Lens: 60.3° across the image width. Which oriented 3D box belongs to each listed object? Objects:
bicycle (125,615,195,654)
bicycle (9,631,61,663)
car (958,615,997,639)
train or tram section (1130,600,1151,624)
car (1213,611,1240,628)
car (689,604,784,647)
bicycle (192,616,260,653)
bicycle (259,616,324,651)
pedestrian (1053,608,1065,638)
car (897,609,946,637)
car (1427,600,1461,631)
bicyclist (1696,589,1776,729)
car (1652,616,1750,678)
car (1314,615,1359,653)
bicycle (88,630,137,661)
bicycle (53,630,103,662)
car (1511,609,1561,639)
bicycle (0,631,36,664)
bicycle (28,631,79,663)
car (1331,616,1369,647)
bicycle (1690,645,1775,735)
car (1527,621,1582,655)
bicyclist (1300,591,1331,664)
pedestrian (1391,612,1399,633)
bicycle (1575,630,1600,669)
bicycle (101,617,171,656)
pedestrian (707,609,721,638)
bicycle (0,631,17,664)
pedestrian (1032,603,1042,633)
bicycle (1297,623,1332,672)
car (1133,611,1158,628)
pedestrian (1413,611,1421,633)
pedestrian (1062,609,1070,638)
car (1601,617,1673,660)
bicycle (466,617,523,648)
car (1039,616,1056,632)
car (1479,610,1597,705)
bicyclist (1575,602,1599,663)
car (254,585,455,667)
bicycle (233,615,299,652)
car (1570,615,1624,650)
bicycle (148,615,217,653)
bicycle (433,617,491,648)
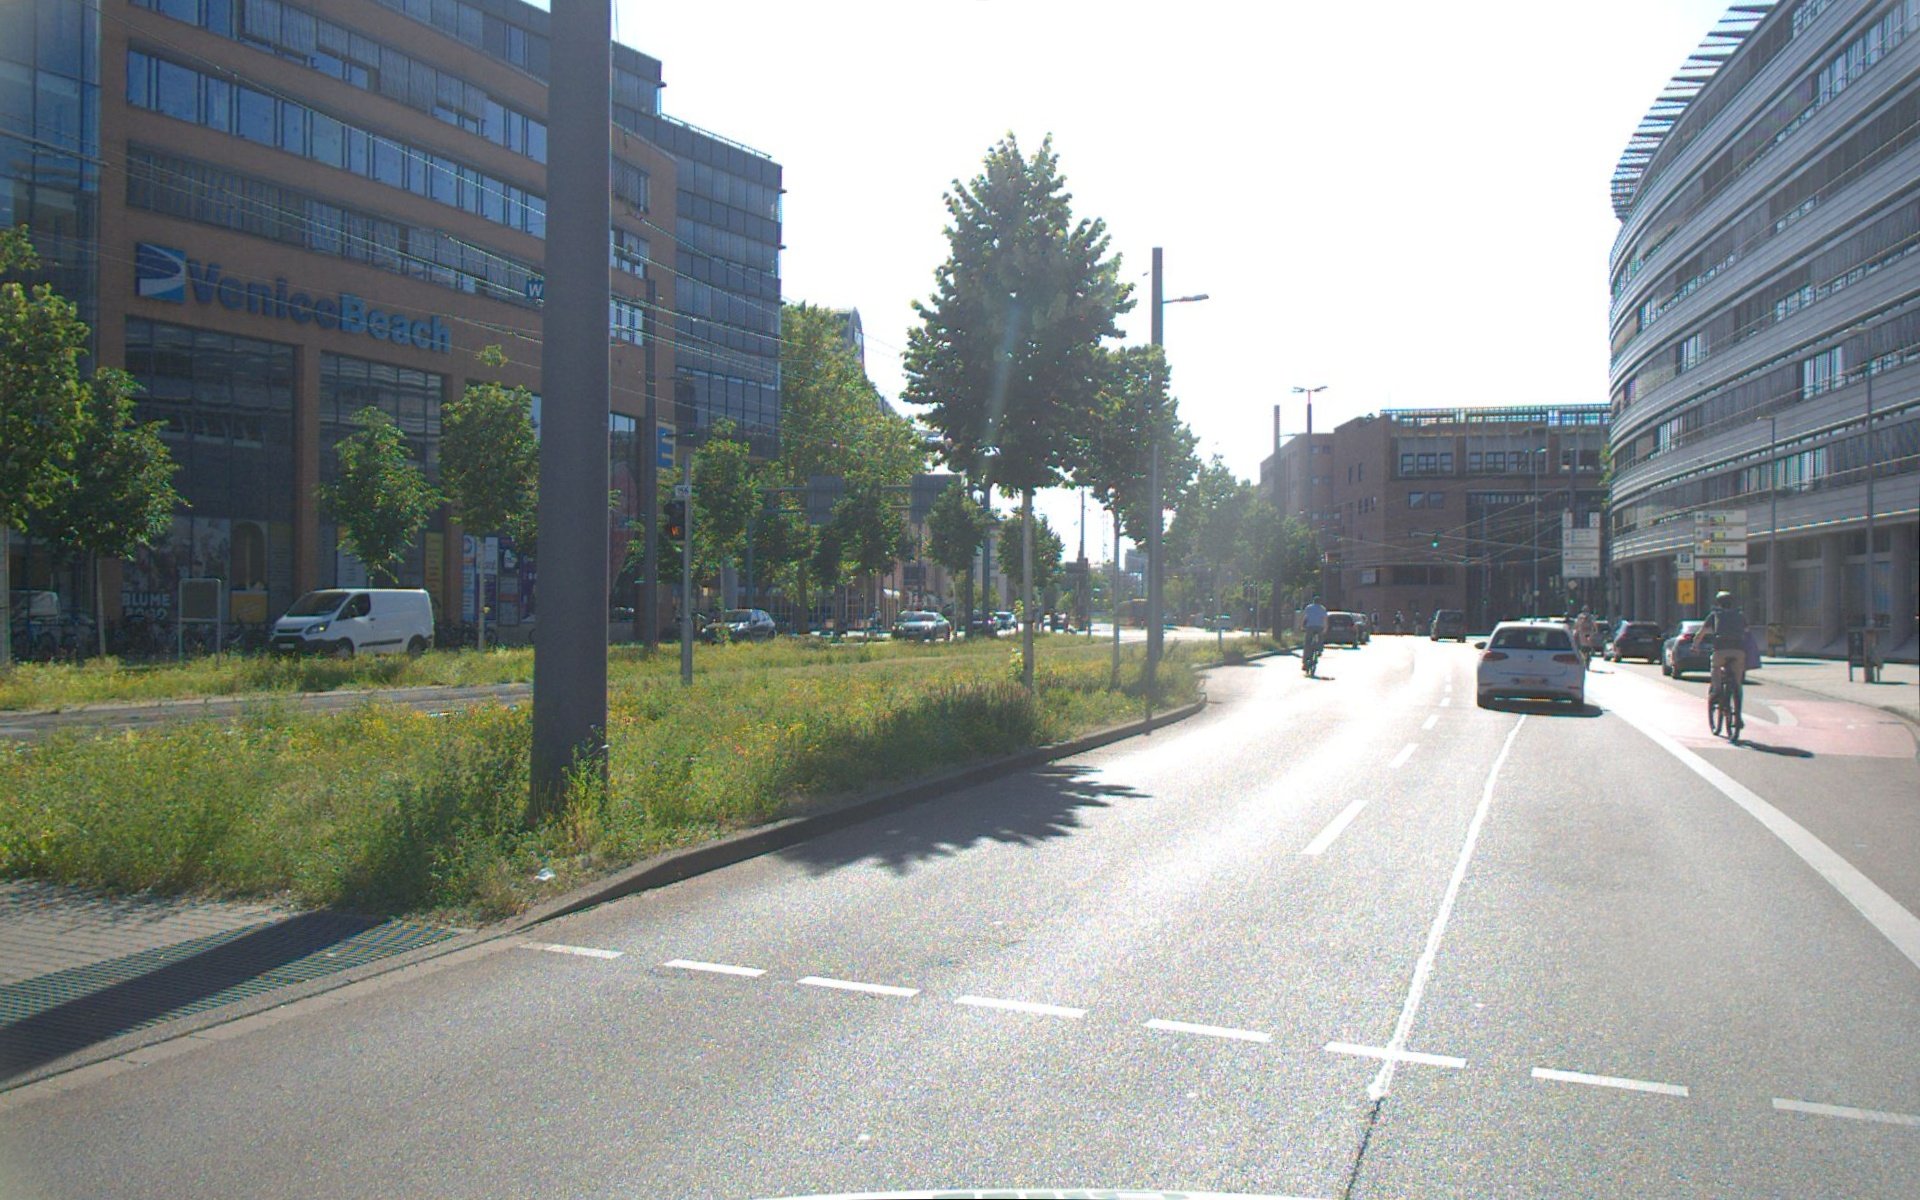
[{"bbox_3d":[-25.150,1.084,51.989,2.130,1.143,0.753,1,0,24],"label":"bicycle"},{"bbox_3d":[-25.201,1.279,45.058,1.417,0.833,0.445,1,0,24],"label":"bicycle"},{"bbox_3d":[1.036,1.598,97.546,1.398,1.383,3.297,0,-1,17],"label":"car"},{"bbox_3d":[22.981,1.531,211.024,2.277,3.056,13.167,0,0,5],"label":"train or tram section"},{"bbox_3d":[28.067,2.098,174.320,2.216,1.758,3.943,0,-1,-1],"label":"car"},{"bbox_3d":[-9.045,1.024,67.233,1.952,1.711,4.539,0,-1,20],"label":"car"},{"bbox_3d":[-23.810,1.116,53.643,2.130,1.143,0.753,1,0,24],"label":"bicycle"},{"bbox_3d":[-22.654,1.130,56.057,2.130,1.143,0.753,1,0,24],"label":"bicycle"},{"bbox_3d":[6.233,1.444,104.218,0.573,1.863,0.494,1,-1,-24],"label":"pedestrian"},{"bbox_3d":[-1.910,1.152,83.072,1.951,1.357,4.792,0,0,4],"label":"car"},{"bbox_3d":[28.414,0.878,97.222,1.744,1.732,4.141,2,0,14],"label":"car"},{"bbox_3d":[9.940,0.738,21.225,0.790,1.722,1.051,2,0,20],"label":"bicyclist"},{"bbox_3d":[19.909,1.227,44.585,1.685,1.551,4.402,0,0,15],"label":"car"},{"bbox_3d":[16.298,1.435,71.514,1.690,1.591,3.680,0,-1,16],"label":"car"},{"bbox_3d":[-24.210,1.306,47.234,1.417,0.833,0.445,1,0,24],"label":"bicycle"},{"bbox_3d":[-24.710,1.289,46.342,1.417,0.833,0.445,1,0,24],"label":"bicycle"},{"bbox_3d":[32.047,1.324,92.151,1.865,1.568,4.141,2,0,9],"label":"car"},{"bbox_3d":[-25.515,1.261,44.444,1.417,0.833,0.445,1,0,24],"label":"bicycle"},{"bbox_3d":[-24.946,1.283,45.499,1.417,0.833,0.445,1,0,24],"label":"bicycle"},{"bbox_3d":[19.350,1.541,81.985,1.689,1.474,4.524,0,-1,15],"label":"car"},{"bbox_3d":[9.962,1.137,21.379,0.808,1.055,1.892,2,0,20],"label":"bicycle"},{"bbox_3d":[30.975,1.943,86.335,1.865,1.611,4.141,2,0,8],"label":"car"},{"bbox_3d":[8.437,0.645,39.245,0.604,1.699,1.020,2,0,15],"label":"bicyclist"},{"bbox_3d":[32.339,1.683,123.061,0.469,1.606,0.414,0,-1,-2],"label":"pedestrian"},{"bbox_3d":[18.519,1.444,48.855,0.635,1.129,1.758,0,-1,19],"label":"bicycle"},{"bbox_3d":[-25.449,1.121,51.071,2.130,1.143,0.753,1,0,24],"label":"bicycle"},{"bbox_3d":[-14.573,1.391,98.051,0.495,1.653,0.788,0,-2,14],"label":"pedestrian"},{"bbox_3d":[-25.746,1.241,43.913,1.417,0.833,0.445,1,0,24],"label":"bicycle"},{"bbox_3d":[4.804,1.097,103.187,0.454,1.863,0.455,1,-1,-24],"label":"pedestrian"},{"bbox_3d":[8.439,1.115,39.314,0.672,1.088,2.699,2,0,15],"label":"bicycle"},{"bbox_3d":[19.589,2.013,174.793,2.216,1.758,3.943,0,-1,-1],"label":"car"},{"bbox_3d":[34.231,1.661,123.882,0.469,1.685,0.491,0,-1,-2],"label":"pedestrian"},{"bbox_3d":[6.817,1.510,106.479,0.379,1.863,0.461,0,-1,-17],"label":"pedestrian"},{"bbox_3d":[24.377,1.365,59.681,1.685,1.447,4.641,2,0,13],"label":"car"},{"bbox_3d":[-18.221,1.277,64.767,2.130,1.143,0.753,1,0,24],"label":"bicycle"},{"bbox_3d":[8.874,2.408,167.383,1.576,1.422,3.920,-3,0,2],"label":"car"},{"bbox_3d":[9.910,0.939,28.528,1.736,1.427,4.295,2,0,18],"label":"car"},{"bbox_3d":[18.613,0.950,49.127,0.635,1.783,1.046,0,0,19],"label":"bicyclist"},{"bbox_3d":[-16.049,0.670,44.173,2.175,2.049,5.256,0,-1,20],"label":"car"},{"bbox_3d":[-23.155,1.114,55.180,2.130,1.143,0.753,1,0,24],"label":"bicycle"},{"bbox_3d":[27.527,1.377,71.554,1.685,1.420,4.791,0,0,15],"label":"car"},{"bbox_3d":[-24.813,1.077,52.794,2.130,1.143,0.753,1,0,24],"label":"bicycle"},{"bbox_3d":[-19.028,1.238,63.136,2.130,1.143,0.753,1,0,24],"label":"bicycle"}]
